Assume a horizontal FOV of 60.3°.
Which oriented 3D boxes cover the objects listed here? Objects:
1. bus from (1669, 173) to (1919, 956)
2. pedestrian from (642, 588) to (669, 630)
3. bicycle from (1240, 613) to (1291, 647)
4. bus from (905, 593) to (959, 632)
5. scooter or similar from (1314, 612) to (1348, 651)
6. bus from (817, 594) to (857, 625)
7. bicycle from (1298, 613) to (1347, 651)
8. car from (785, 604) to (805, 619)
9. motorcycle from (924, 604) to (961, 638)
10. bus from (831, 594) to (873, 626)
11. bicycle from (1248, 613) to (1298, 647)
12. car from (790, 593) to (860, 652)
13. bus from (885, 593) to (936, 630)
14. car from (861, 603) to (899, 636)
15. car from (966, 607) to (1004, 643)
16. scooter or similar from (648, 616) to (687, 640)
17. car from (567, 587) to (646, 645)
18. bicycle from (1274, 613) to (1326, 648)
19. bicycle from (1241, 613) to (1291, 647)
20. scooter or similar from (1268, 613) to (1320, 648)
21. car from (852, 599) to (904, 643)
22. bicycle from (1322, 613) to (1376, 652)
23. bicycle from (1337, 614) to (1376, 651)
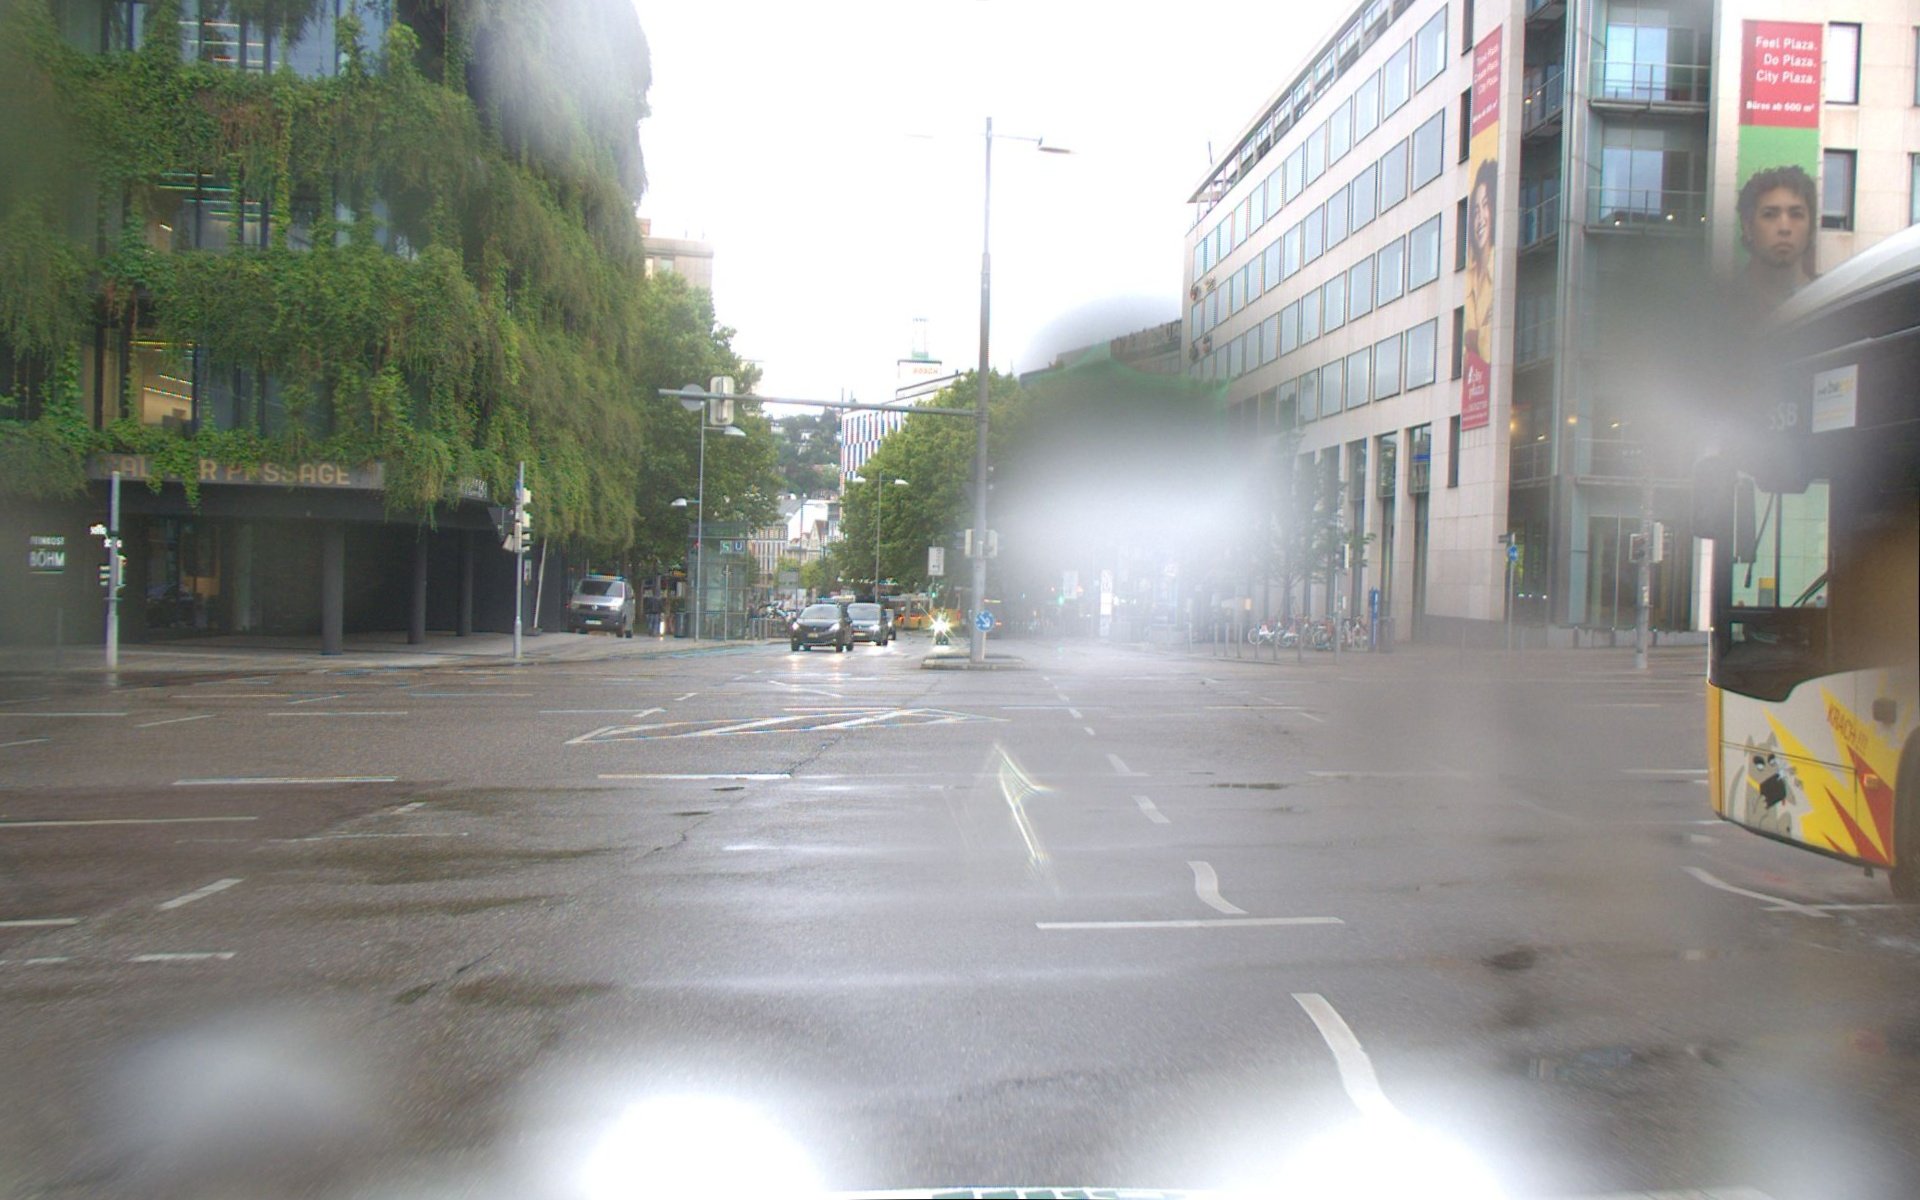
[{"bbox_3d":[5.697,-0.171,5.148,2.824,3.511,9.756,1,-1,0],"label":"bus"},{"bbox_3d":[-12.315,0.354,66.817,0.915,1.673,0.774,1,-1,-1],"label":"pedestrian"},{"bbox_3d":[11.281,1.101,61.064,1.741,1.215,0.586,1,-1,1],"label":"bicycle"},{"bbox_3d":[-2.313,0.982,134.080,2.585,3.048,7.417,1,0,-16],"label":"bus"},{"bbox_3d":[11.776,1.006,52.455,0.946,1.215,0.453,0,-1,40],"label":"scooter or similar"},{"bbox_3d":[-12.570,0.930,168.348,2.585,3.048,7.417,1,0,-16],"label":"bus"},{"bbox_3d":[11.982,1.039,54.694,0.578,1.215,1.767,2,-1,-28],"label":"bicycle"},{"bbox_3d":[-17.759,1.263,177.898,1.745,1.534,3.999,1,-1,-1],"label":"car"},{"bbox_3d":[-0.863,0.981,78.049,1.521,1.541,4.381,1,-1,-3],"label":"motorcycle"},{"bbox_3d":[-10.597,0.974,161.274,2.585,3.048,7.296,1,0,-16],"label":"bus"},{"bbox_3d":[11.845,1.133,62.622,1.741,1.215,0.586,1,-1,1],"label":"bicycle"},{"bbox_3d":[-4.418,0.737,54.805,2.121,1.796,5.108,1,-1,-3],"label":"car"},{"bbox_3d":[-4.286,0.974,141.203,2.585,3.048,7.417,1,0,-16],"label":"bus"},{"bbox_3d":[-4.602,1.093,94.703,2.121,1.796,5.108,1,-1,-3],"label":"car"},{"bbox_3d":[1.481,1.498,99.614,1.515,2.049,4.659,1,-1,-8],"label":"car"},{"bbox_3d":[-12.485,1.181,70.554,0.612,1.022,1.653,1,0,37],"label":"scooter or similar"},{"bbox_3d":[-11.984,0.547,56.356,1.832,1.871,3.999,1,-1,-1],"label":"car"},{"bbox_3d":[12.306,1.110,59.907,1.741,1.215,0.586,1,-1,1],"label":"bicycle"},{"bbox_3d":[11.425,1.112,61.700,1.741,1.215,0.586,1,-1,1],"label":"bicycle"},{"bbox_3d":[11.960,1.095,59.280,1.741,1.215,0.586,1,-1,1],"label":"scooter or similar"},{"bbox_3d":[-3.559,0.900,71.464,2.121,1.796,5.108,1,-1,-3],"label":"car"},{"bbox_3d":[12.514,1.031,53.148,1.590,1.215,0.586,1,-1,26],"label":"bicycle"},{"bbox_3d":[13.259,1.088,55.266,0.575,1.215,1.776,0,-1,37],"label":"bicycle"}]
